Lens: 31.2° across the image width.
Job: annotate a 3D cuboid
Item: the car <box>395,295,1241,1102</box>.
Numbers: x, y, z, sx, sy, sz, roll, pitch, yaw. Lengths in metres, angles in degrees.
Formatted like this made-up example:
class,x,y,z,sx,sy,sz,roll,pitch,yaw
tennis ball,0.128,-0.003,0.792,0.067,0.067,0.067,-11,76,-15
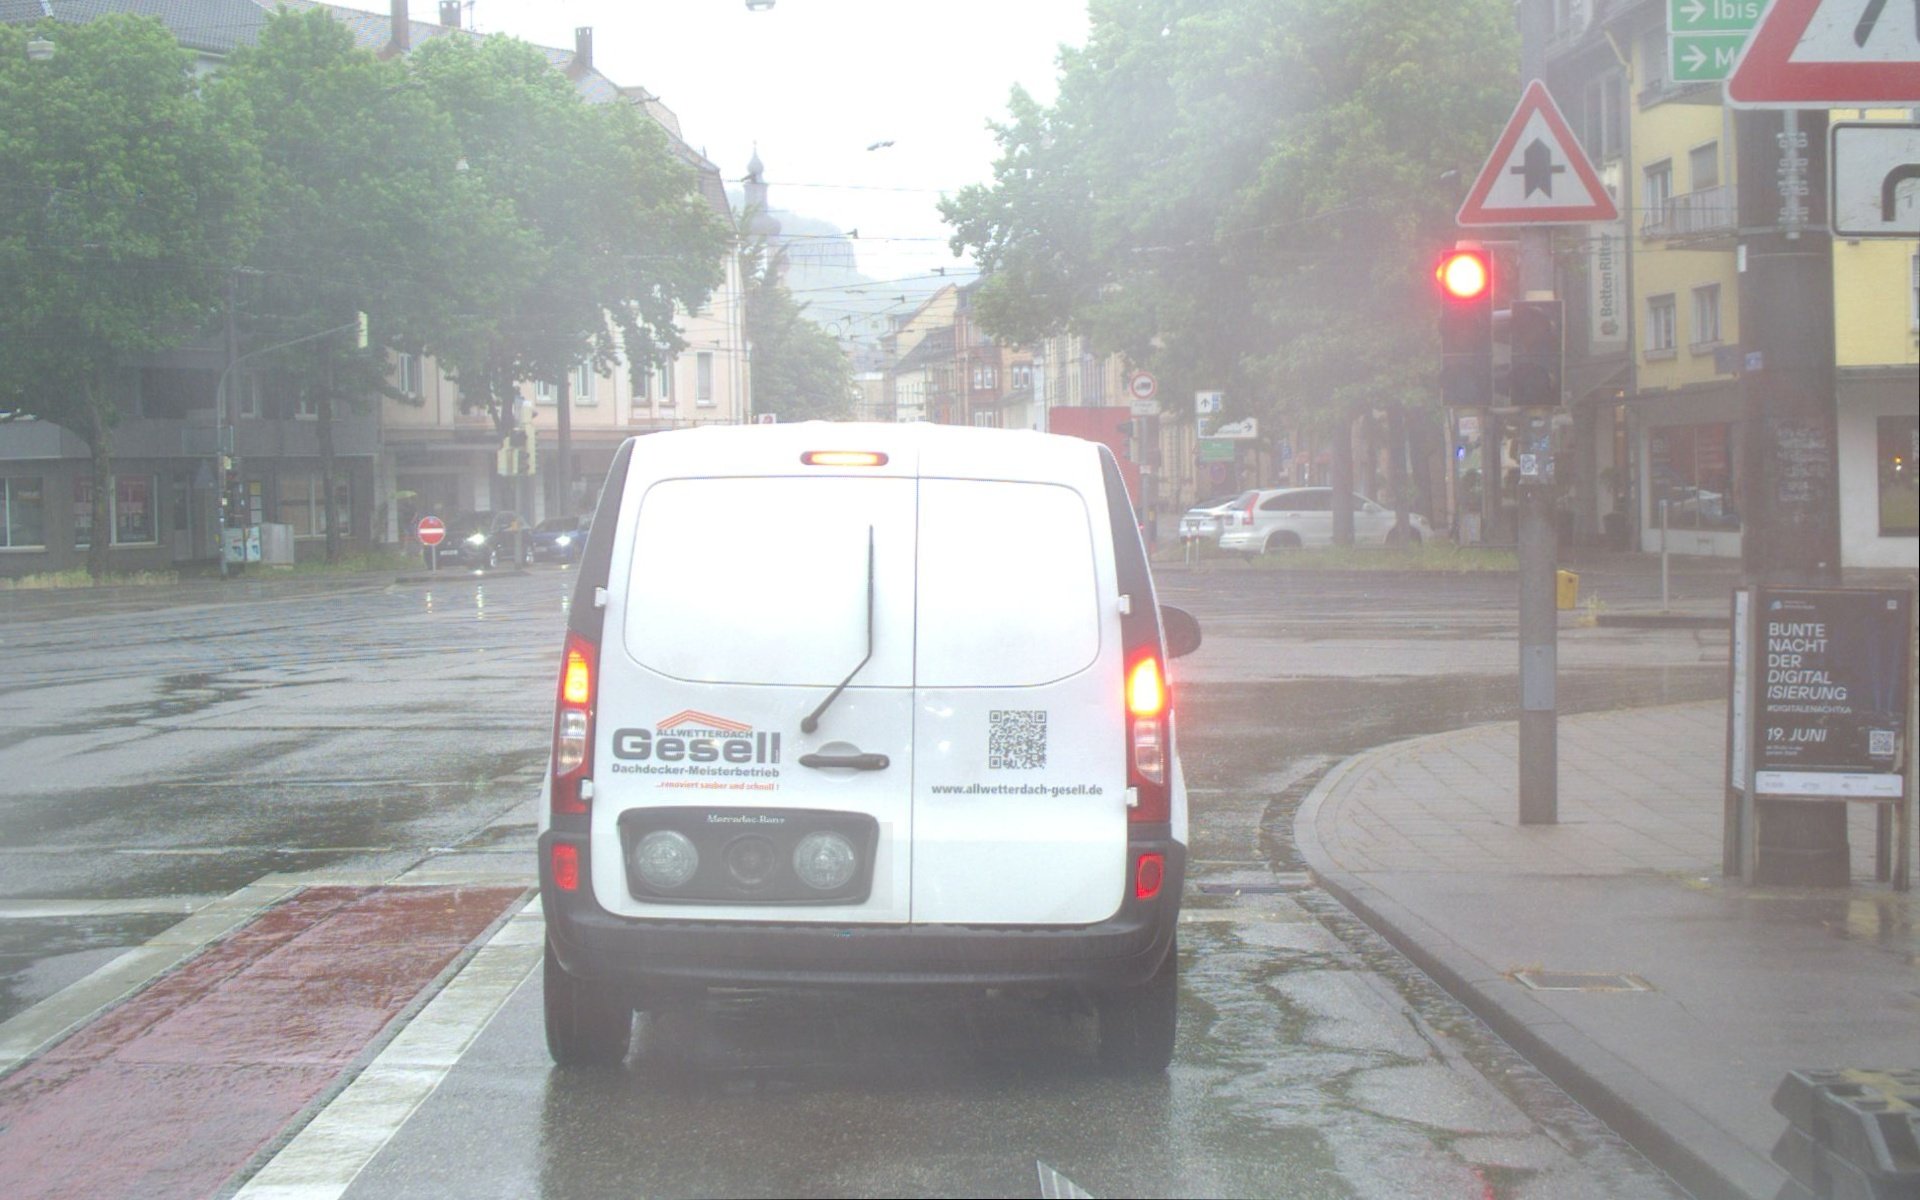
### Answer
class,x,y,z,sx,sy,sz,roll,pitch,yaw
car,-0.373,0.203,11.052,2.100,2.005,4.963,0,1,0

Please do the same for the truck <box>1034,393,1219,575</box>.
class,x,y,z,sx,sy,sz,roll,pitch,yaw
truck,5.199,-3.403,103.584,3.471,5.070,15.300,1,1,11

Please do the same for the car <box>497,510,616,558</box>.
class,x,y,z,sx,sy,sz,roll,pitch,yaw
car,-11.508,-1.903,98.272,1.952,1.235,3.997,0,3,17

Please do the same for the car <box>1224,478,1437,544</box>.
class,x,y,z,sx,sy,sz,roll,pitch,yaw
car,7.716,-1.864,71.681,4.165,1.334,1.521,-1,2,-7

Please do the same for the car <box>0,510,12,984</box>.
class,x,y,z,sx,sy,sz,roll,pitch,yaw
car,-4.031,0.523,9.639,1.727,1.573,3.821,0,1,-1

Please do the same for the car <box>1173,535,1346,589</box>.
class,x,y,z,sx,sy,sz,roll,pitch,yaw
car,6.421,-0.817,73.820,3.441,1.126,1.472,0,1,-8

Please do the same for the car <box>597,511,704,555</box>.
class,x,y,z,sx,sy,sz,roll,pitch,yaw
car,-9.516,-2.090,106.083,1.952,1.235,3.997,0,3,17

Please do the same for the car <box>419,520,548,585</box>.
class,x,y,z,sx,sy,sz,roll,pitch,yaw
car,-12.729,-1.288,92.062,1.952,1.602,3.997,0,3,17
